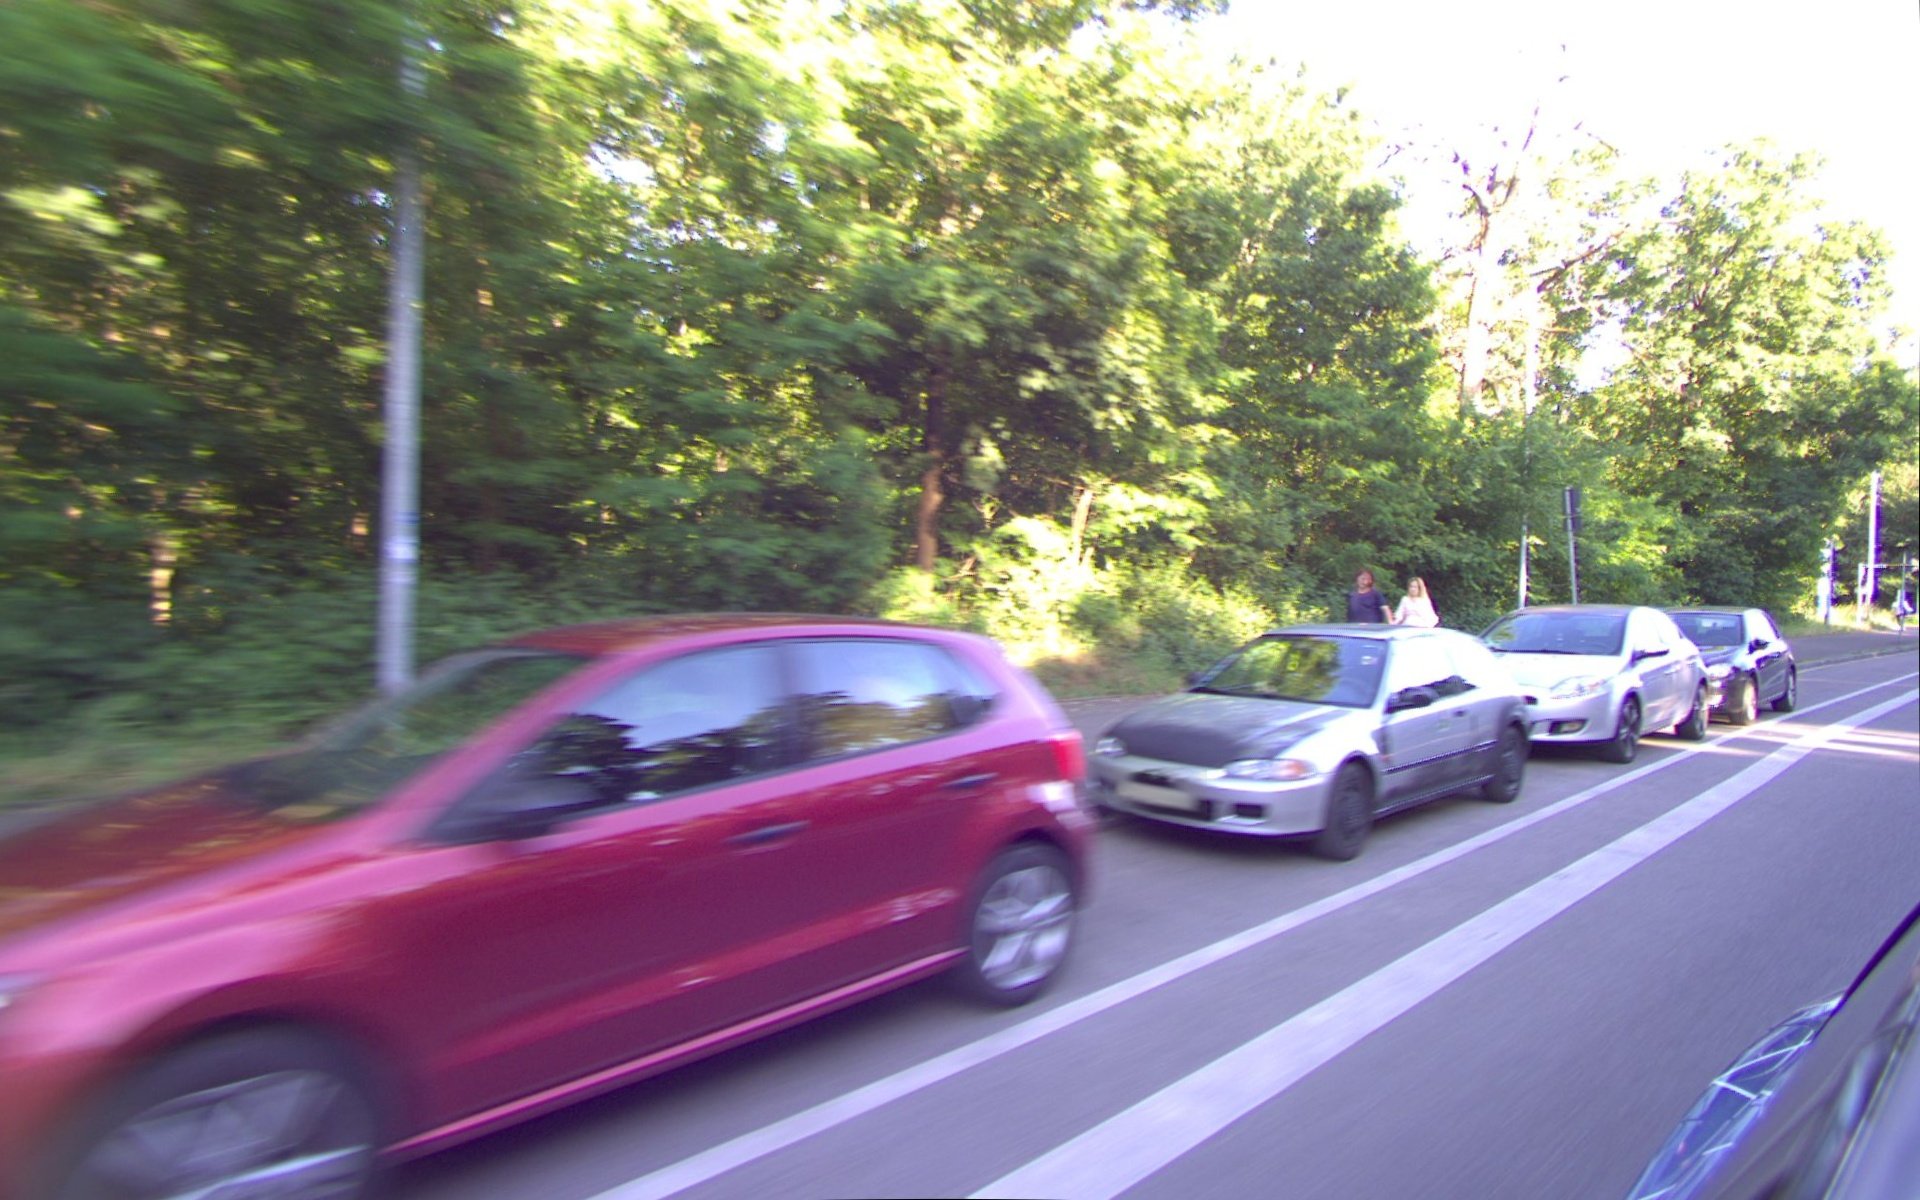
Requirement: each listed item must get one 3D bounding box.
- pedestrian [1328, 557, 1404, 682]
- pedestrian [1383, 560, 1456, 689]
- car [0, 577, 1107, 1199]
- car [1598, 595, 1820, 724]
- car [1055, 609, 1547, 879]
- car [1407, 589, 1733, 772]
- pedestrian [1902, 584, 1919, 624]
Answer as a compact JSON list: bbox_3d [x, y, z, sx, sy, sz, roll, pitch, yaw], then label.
[{"bbox_3d":[6.161,0.272,15.342,0.937,1.821,0.676,0,3,-44],"label":"pedestrian"},{"bbox_3d":[6.788,0.335,14.960,0.776,1.821,0.676,0,3,-43],"label":"pedestrian"},{"bbox_3d":[-1.297,0.707,3.311,3.663,1.488,1.617,0,-1,-44],"label":"car"},{"bbox_3d":[10.260,0.680,13.767,3.951,1.470,1.659,0,1,-42],"label":"car"},{"bbox_3d":[2.545,0.761,7.098,3.774,1.336,1.631,0,0,-42],"label":"car"},{"bbox_3d":[6.592,0.673,10.737,4.284,1.544,1.740,0,1,-41],"label":"car"},{"bbox_3d":[43.903,0.198,46.494,0.721,1.822,0.809,0,1,-39],"label":"pedestrian"}]
